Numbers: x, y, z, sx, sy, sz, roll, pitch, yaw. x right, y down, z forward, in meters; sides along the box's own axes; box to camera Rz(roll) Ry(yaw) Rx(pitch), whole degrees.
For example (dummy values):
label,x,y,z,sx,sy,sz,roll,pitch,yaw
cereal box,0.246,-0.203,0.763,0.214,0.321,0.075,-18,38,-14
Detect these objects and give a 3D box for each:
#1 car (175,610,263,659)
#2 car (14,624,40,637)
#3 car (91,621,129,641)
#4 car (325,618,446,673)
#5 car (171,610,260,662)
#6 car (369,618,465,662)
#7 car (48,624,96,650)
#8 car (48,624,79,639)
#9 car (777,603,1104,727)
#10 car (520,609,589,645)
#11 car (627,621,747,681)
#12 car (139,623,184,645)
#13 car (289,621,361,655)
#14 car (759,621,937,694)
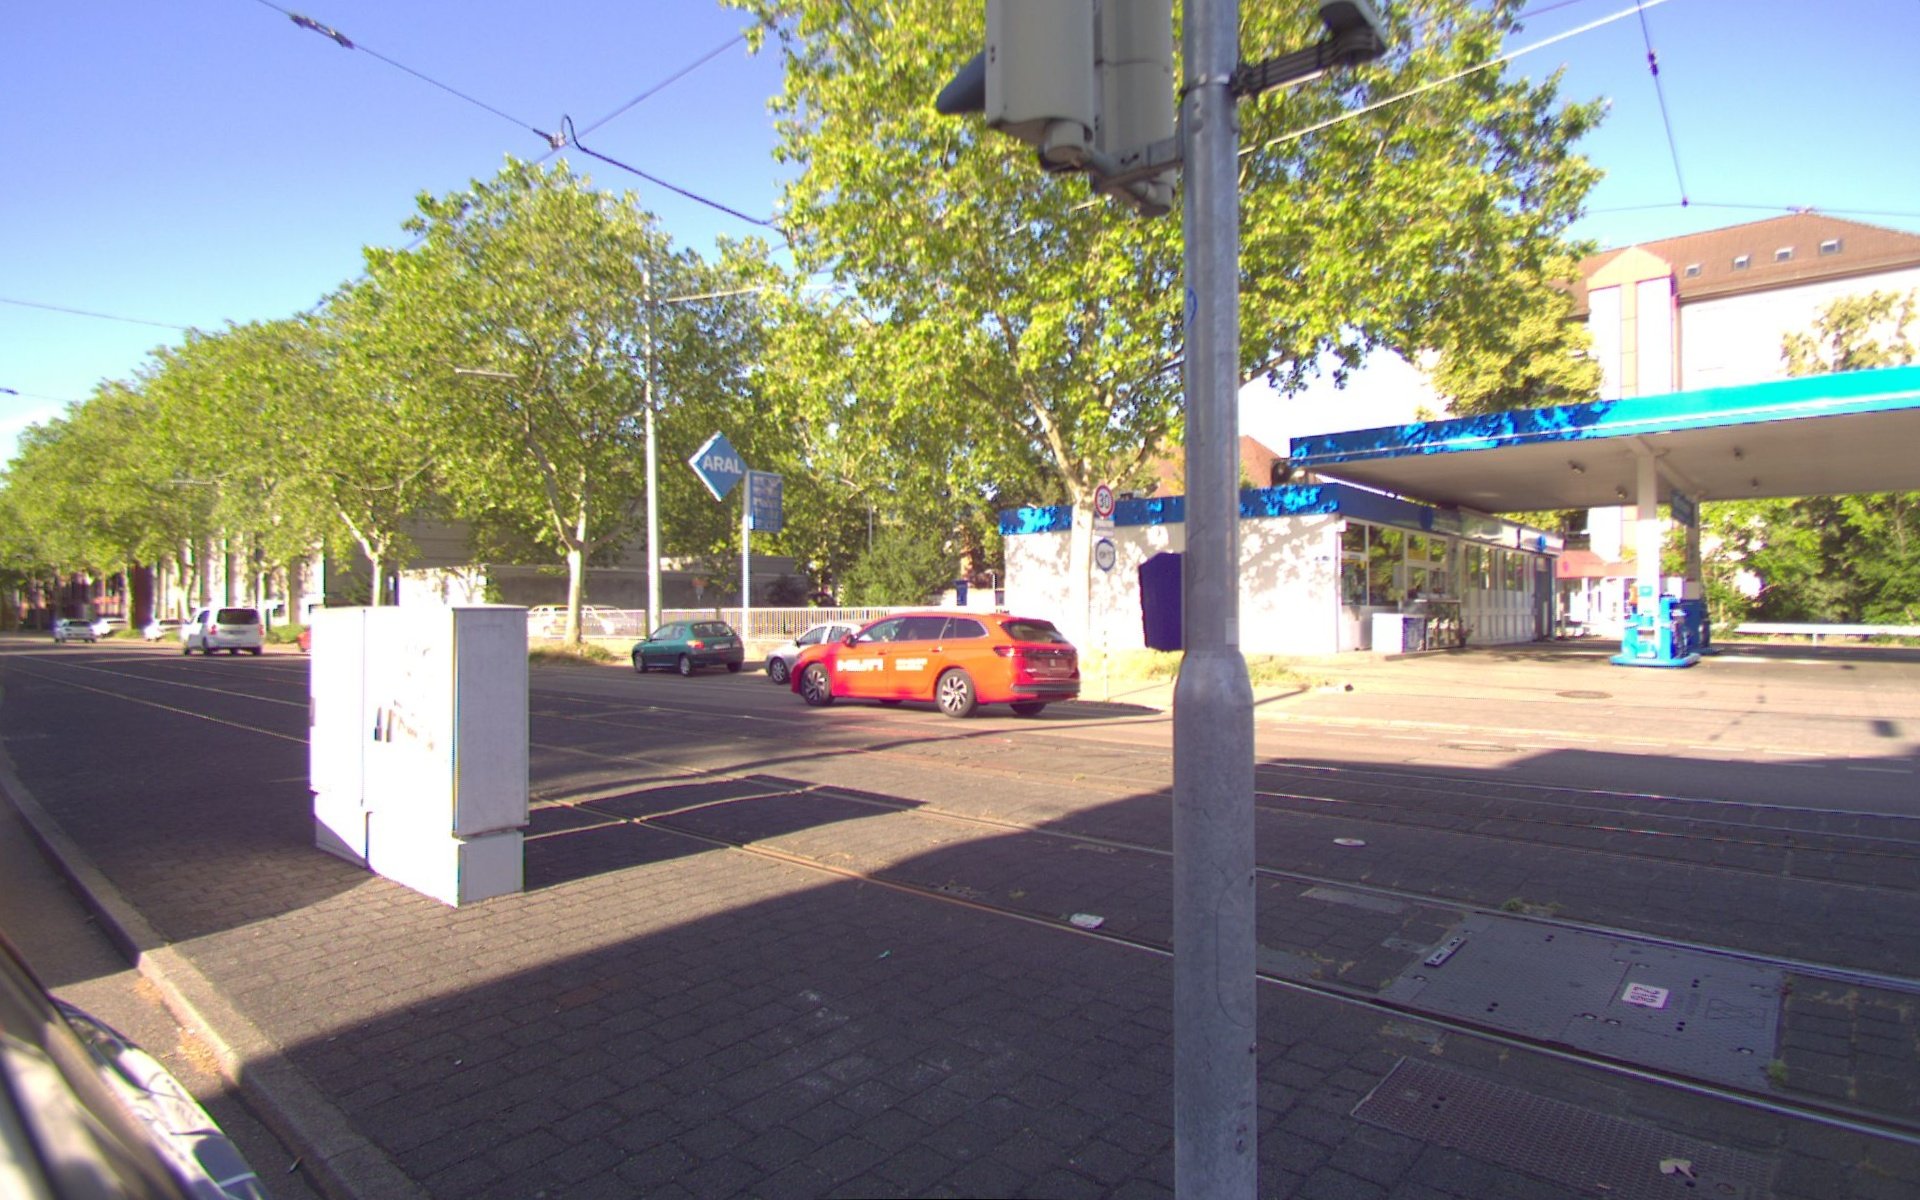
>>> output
label,x,y,z,sx,sy,sz,roll,pitch,yaw
car,-29.806,1.342,40.664,4.390,1.860,1.827,-1,-2,39
car,-103.224,3.383,111.976,3.998,1.420,1.678,-1,-2,41
car,-66.807,2.409,79.551,3.998,1.569,1.678,-1,-2,41
car,-16.129,1.247,28.336,3.998,1.431,1.678,-1,-3,41
car,-30.152,1.477,40.927,5.111,1.889,1.863,-4,-2,41
car,-21.605,1.557,40.213,4.431,1.534,1.731,-1,3,40
car,-55.977,2.284,63.788,3.998,1.507,1.741,-1,0,41
car,-85.177,2.967,96.168,3.998,1.420,1.678,-1,-2,41
car,-0.416,0.864,14.879,4.761,1.534,1.887,-1,-2,40
car,-16.835,1.092,42.001,3.151,1.431,1.525,-1,0,44
car,-7.269,1.297,26.802,3.253,1.431,1.526,-1,0,41
car,-53.806,2.285,68.203,3.998,1.420,1.678,-1,-2,41
car,-28.990,1.695,46.155,3.998,1.480,1.678,-1,-2,41
car,-2.565,1.204,22.597,3.998,1.431,1.709,-1,0,41
